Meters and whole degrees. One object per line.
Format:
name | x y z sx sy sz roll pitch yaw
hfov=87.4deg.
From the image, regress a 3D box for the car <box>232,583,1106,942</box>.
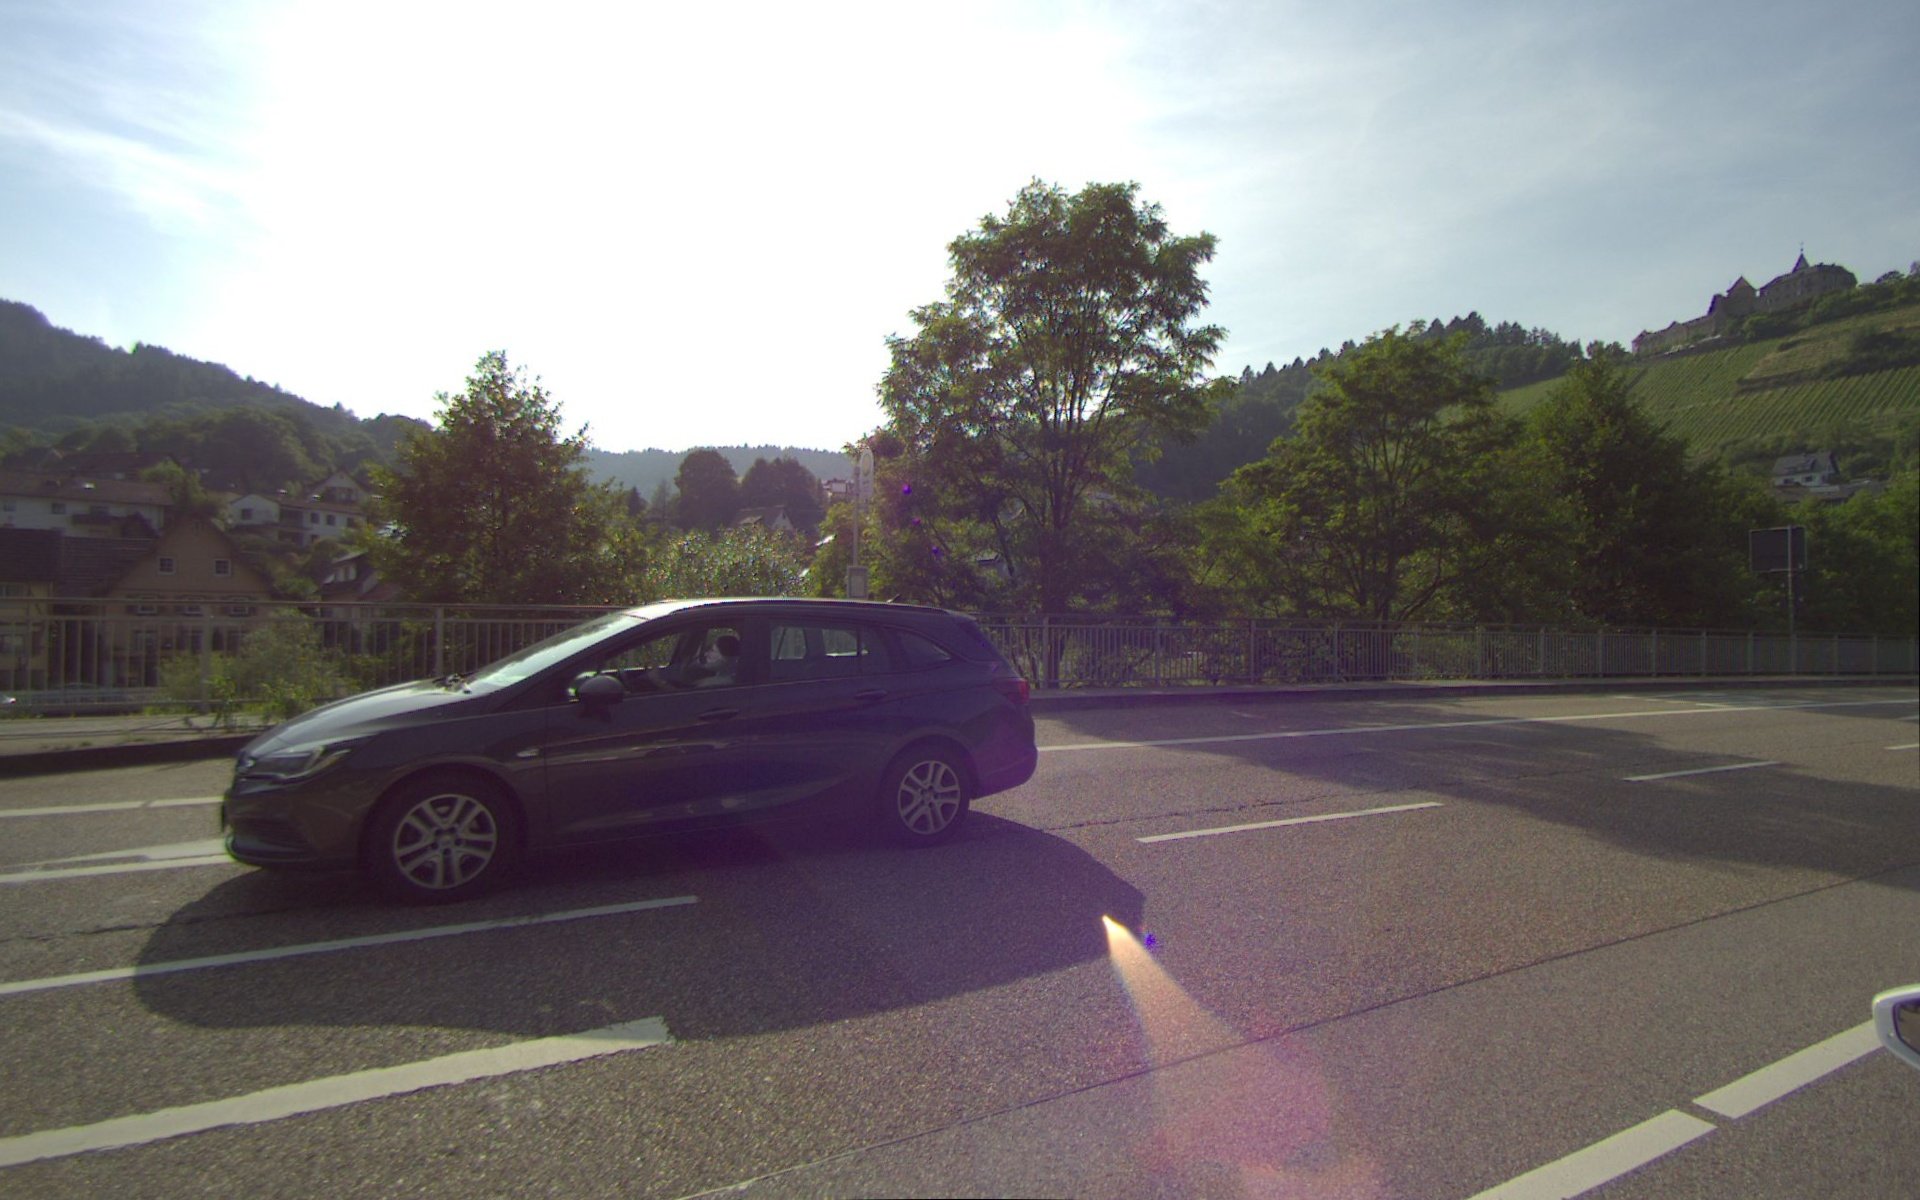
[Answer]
car | -1.486 0.743 6.203 4.700 1.498 1.776 1 -1 -32
